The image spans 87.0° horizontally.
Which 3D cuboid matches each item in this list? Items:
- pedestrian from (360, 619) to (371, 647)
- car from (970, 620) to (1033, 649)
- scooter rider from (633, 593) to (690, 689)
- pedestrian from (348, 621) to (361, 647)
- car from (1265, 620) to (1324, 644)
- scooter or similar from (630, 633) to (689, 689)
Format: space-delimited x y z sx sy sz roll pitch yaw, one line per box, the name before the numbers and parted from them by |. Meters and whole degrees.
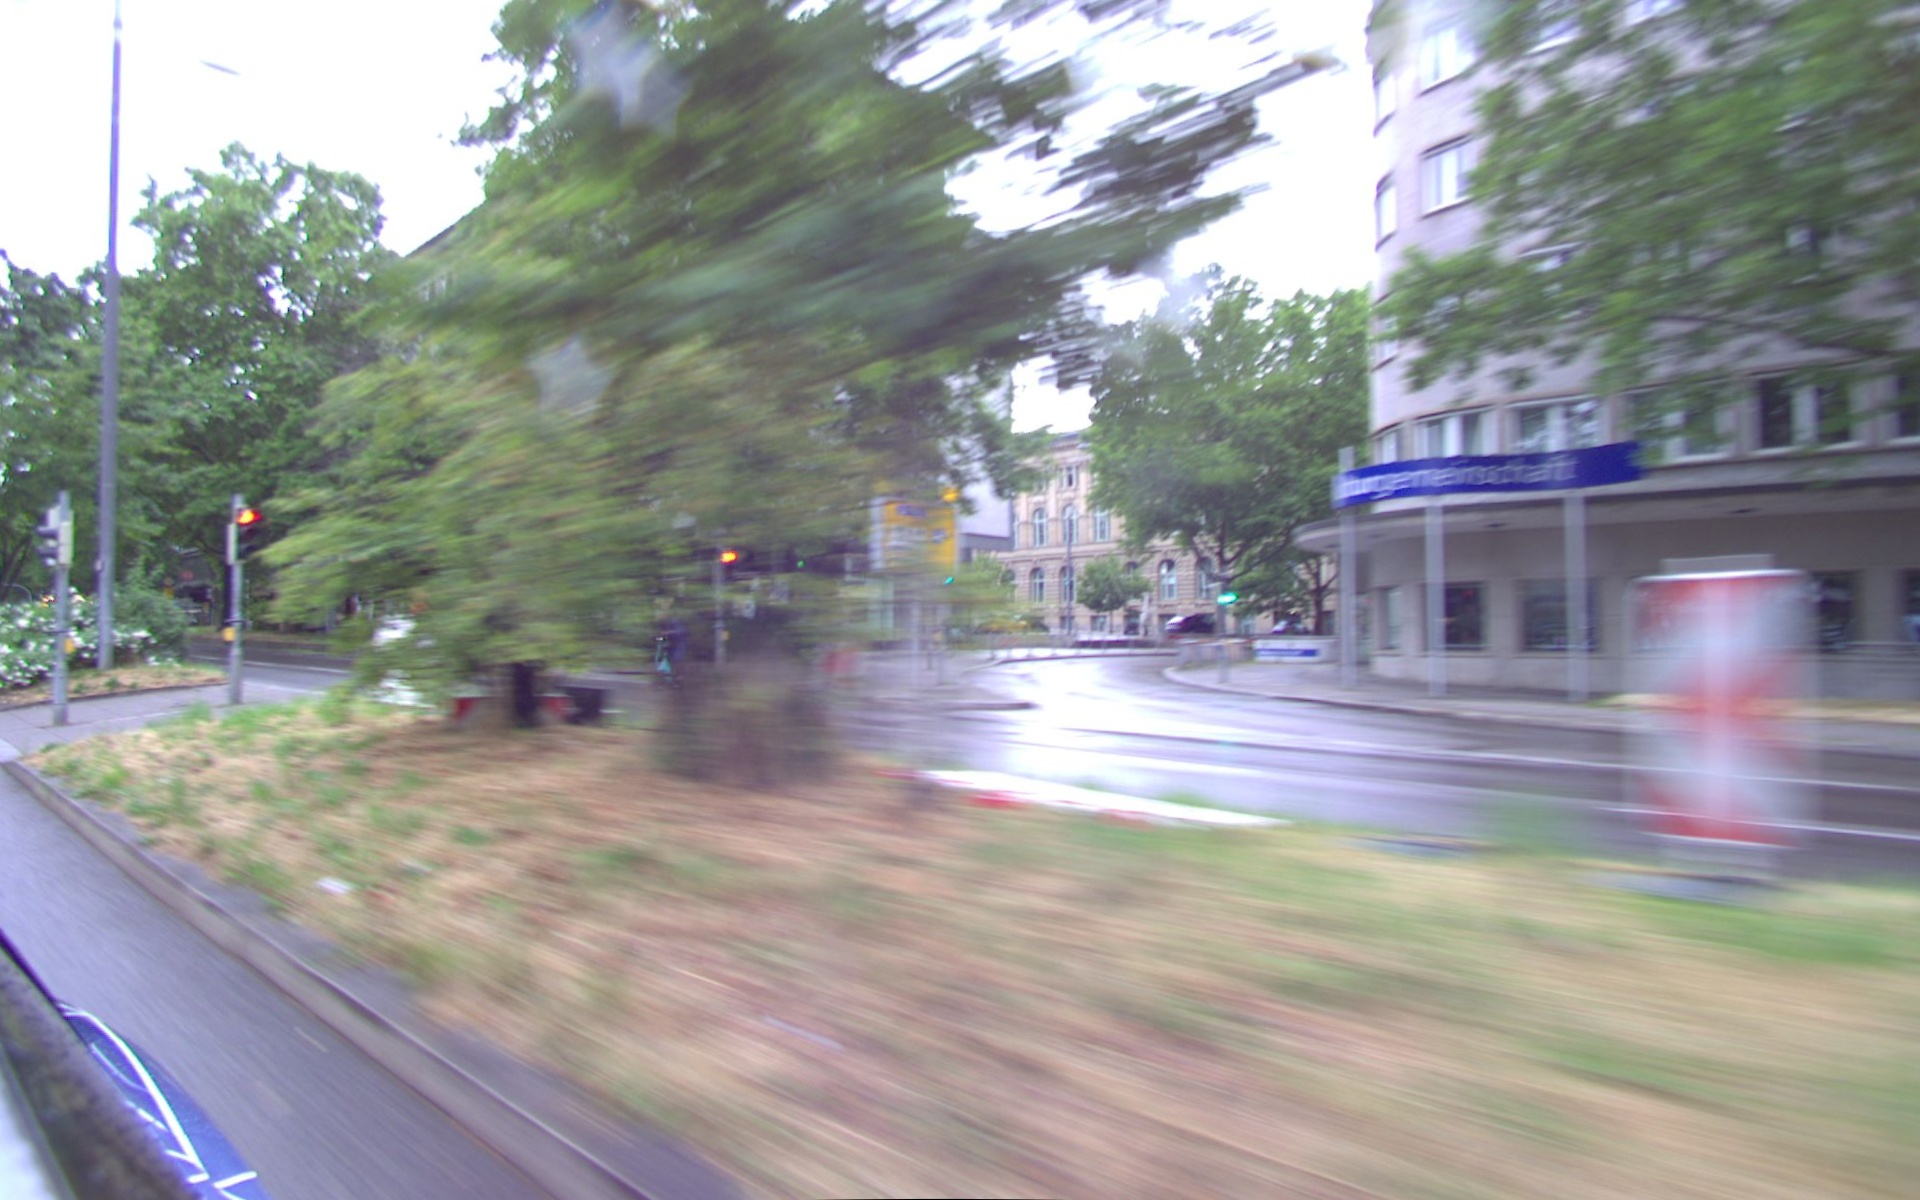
pedestrian | -39.560 2.184 67.330 0.522 1.821 0.542 -1 -2 42
car | 2.850 2.336 69.143 4.078 1.852 1.931 1 -2 -41
scooter rider | -6.254 0.846 21.203 0.756 1.955 0.891 -1 -2 39
pedestrian | -39.926 2.247 66.718 0.685 1.721 0.557 -1 -2 42
car | 23.066 2.209 69.727 3.915 1.564 1.749 0 -1 -32
scooter or similar | -6.283 1.257 21.200 0.434 1.122 1.170 -1 -2 38
